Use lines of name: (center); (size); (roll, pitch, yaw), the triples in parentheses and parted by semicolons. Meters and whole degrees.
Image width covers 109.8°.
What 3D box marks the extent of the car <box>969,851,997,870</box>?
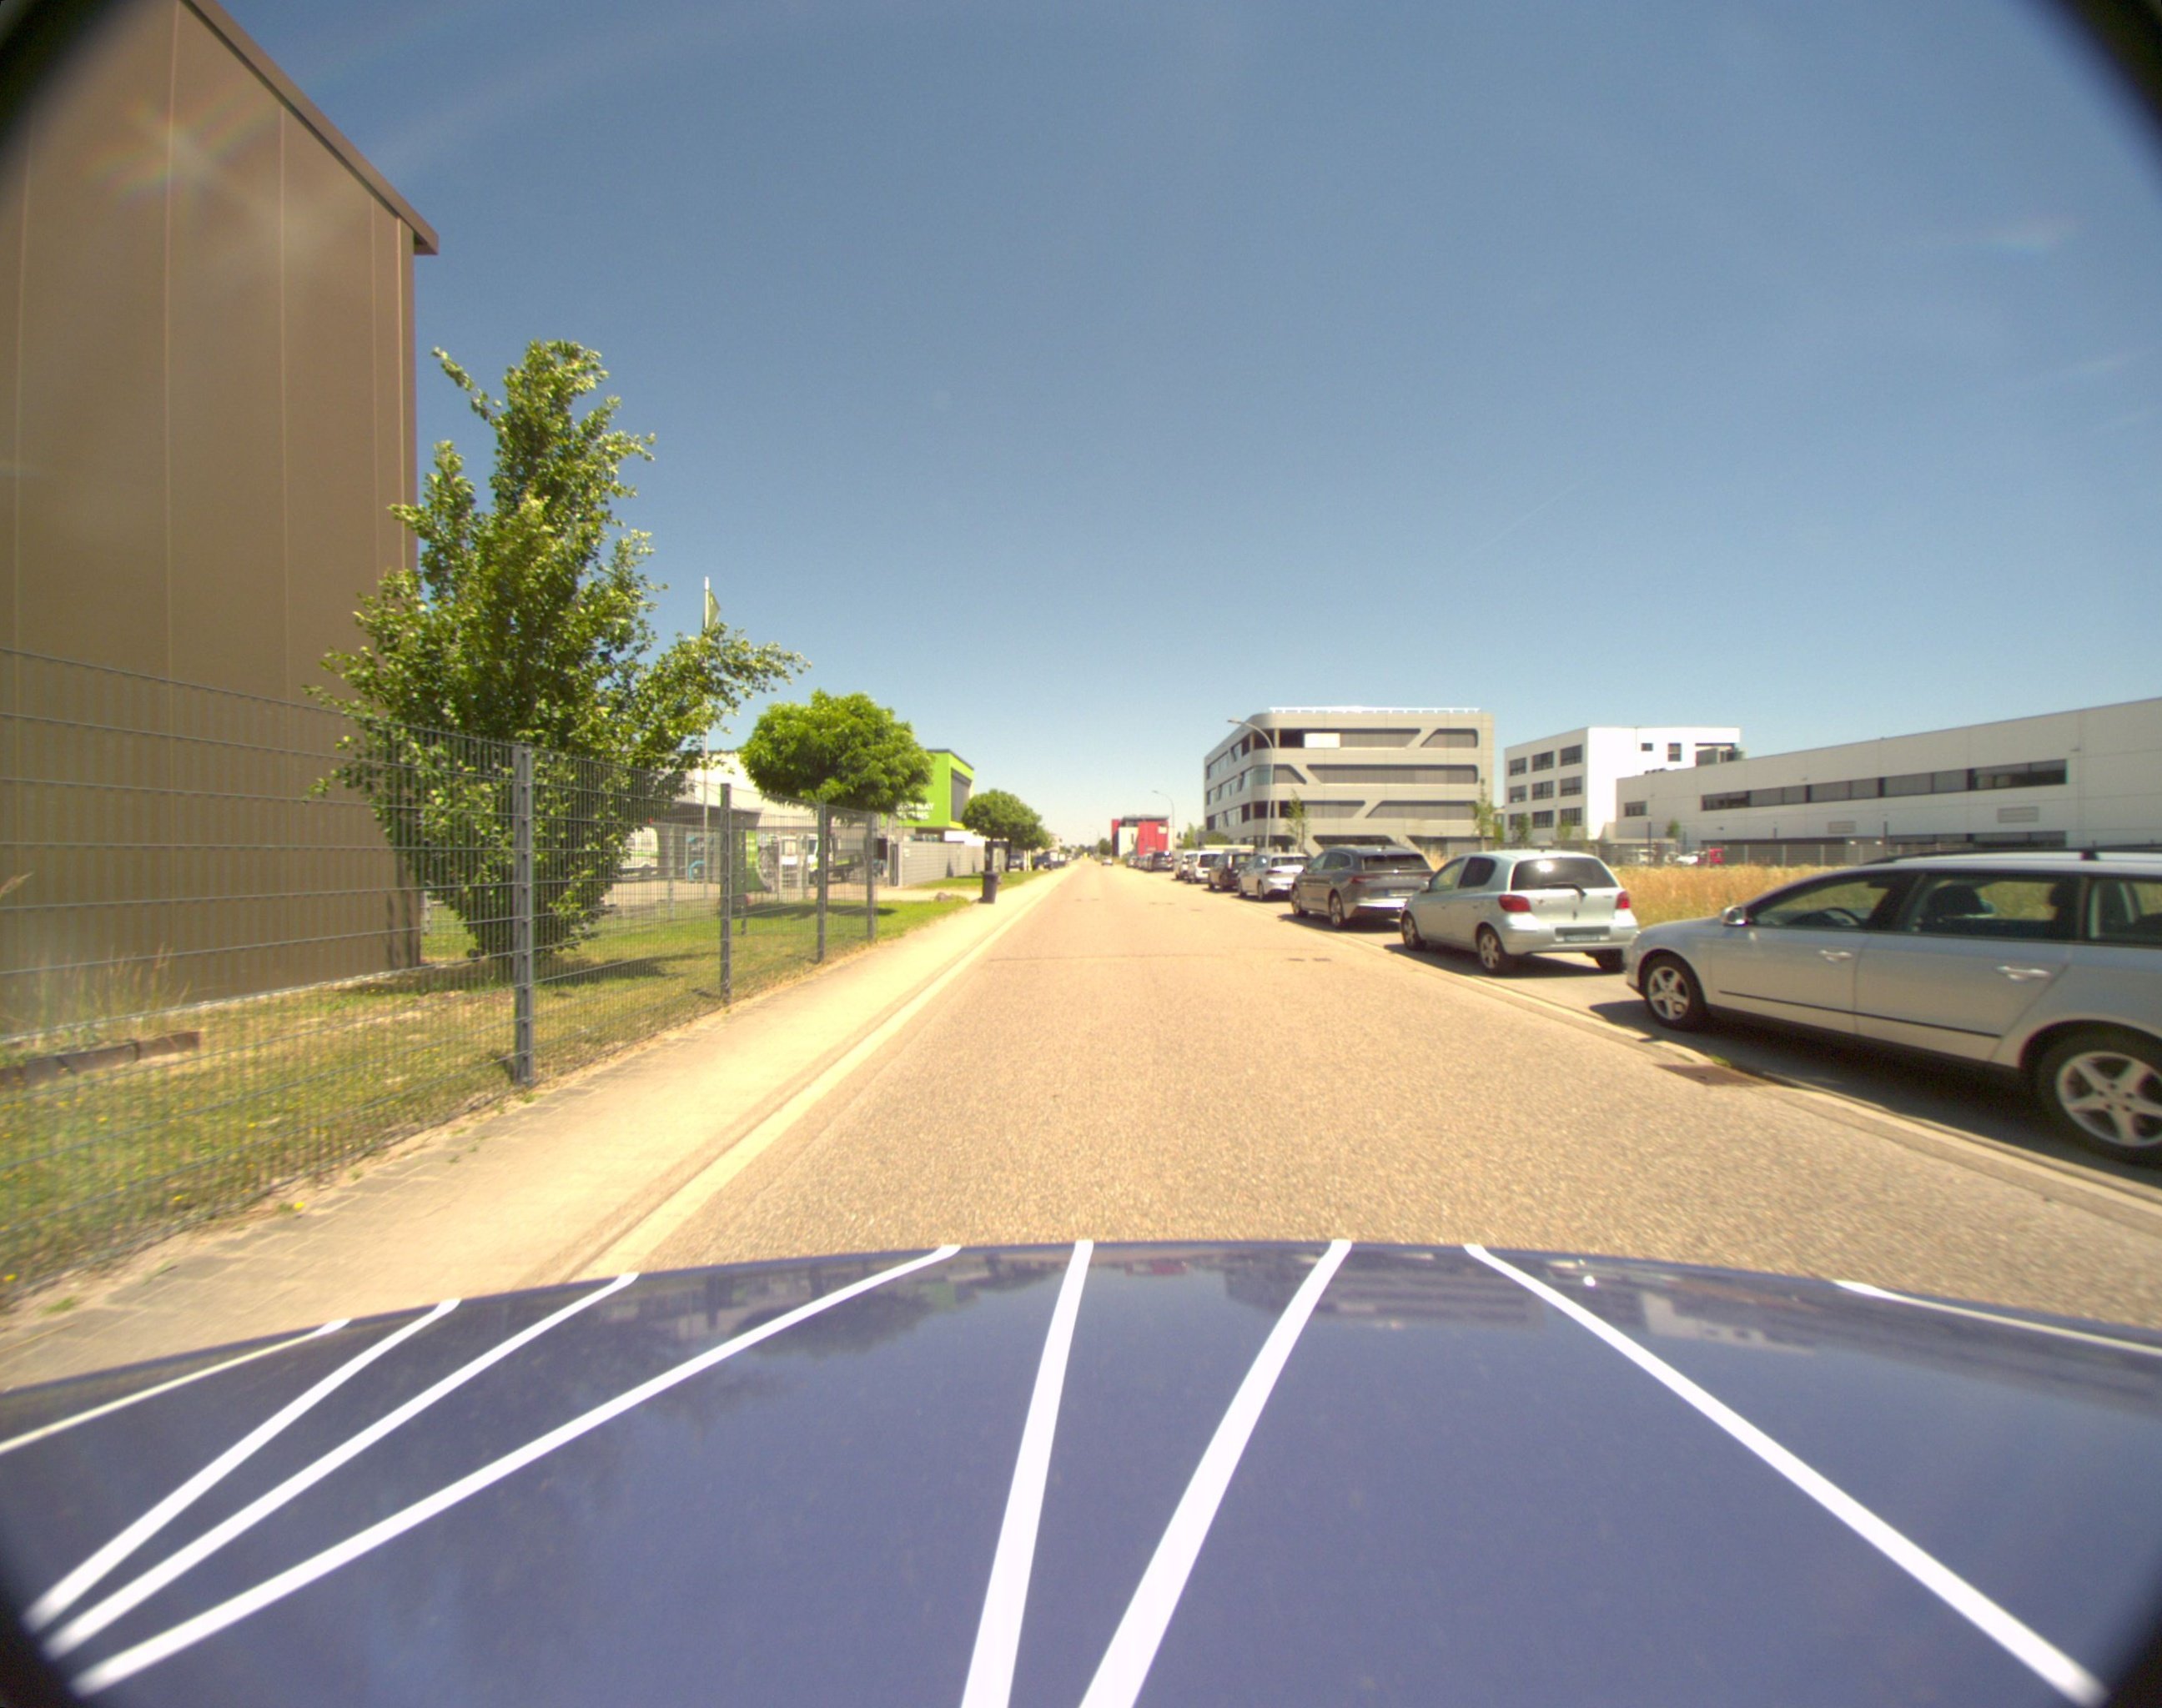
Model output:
car: (-8.178, 0.529, 63.706); (1.742, 1.390, 4.053); (0, 2, 1)

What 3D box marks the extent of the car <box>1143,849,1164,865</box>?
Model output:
car: (6.890, 0.275, 72.425); (1.639, 1.527, 3.657); (-2, 0, 0)

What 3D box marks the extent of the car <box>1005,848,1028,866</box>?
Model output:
car: (-5.976, 0.288, 70.850); (1.727, 1.623, 4.022); (-1, 0, 1)

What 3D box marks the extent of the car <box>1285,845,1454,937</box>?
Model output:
car: (5.724, 0.639, 15.726); (1.795, 1.598, 4.462); (-2, 1, 0)

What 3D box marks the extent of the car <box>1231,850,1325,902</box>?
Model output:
car: (6.132, 0.625, 24.135); (1.768, 1.442, 4.199); (-2, 1, -2)

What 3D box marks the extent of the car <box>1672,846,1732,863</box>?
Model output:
car: (57.282, 0.049, 70.138); (3.997, 1.576, 1.922); (0, 0, 1)

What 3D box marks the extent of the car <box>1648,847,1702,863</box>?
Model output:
car: (58.595, 0.103, 74.942); (3.999, 1.576, 1.921); (0, 0, -6)

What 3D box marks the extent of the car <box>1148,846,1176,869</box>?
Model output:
car: (6.576, 0.269, 62.077); (1.807, 1.709, 4.622); (-2, 0, 1)

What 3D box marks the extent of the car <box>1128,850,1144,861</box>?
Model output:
car: (7.076, 0.184, 98.166); (1.704, 1.378, 3.937); (-1, 0, -2)

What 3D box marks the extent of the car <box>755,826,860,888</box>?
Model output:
car: (-12.271, 0.091, 34.781); (2.135, 2.480, 7.025); (2, 1, 1)

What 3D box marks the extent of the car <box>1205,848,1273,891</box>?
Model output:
car: (6.031, 0.546, 29.481); (1.767, 1.508, 4.379); (-2, 1, 1)

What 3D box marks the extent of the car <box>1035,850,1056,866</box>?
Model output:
car: (-3.267, 0.390, 70.671); (1.696, 1.419, 4.246); (-1, 0, 1)

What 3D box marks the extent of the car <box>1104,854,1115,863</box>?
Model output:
car: (4.593, 0.694, 124.232); (1.708, 1.403, 4.784); (2, 0, 2)

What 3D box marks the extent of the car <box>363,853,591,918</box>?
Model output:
car: (-14.885, 0.709, 19.164); (1.998, 1.430, 4.612); (0, 0, 1)

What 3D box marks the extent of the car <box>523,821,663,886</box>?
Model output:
car: (-20.714, -0.040, 32.673); (2.135, 2.480, 5.860); (2, 1, 1)

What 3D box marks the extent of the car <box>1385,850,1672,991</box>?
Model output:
car: (5.733, 0.735, 10.335); (1.698, 1.516, 3.734); (-2, 1, 0)

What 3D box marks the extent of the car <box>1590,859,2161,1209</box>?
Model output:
car: (5.761, 0.831, 4.858); (1.779, 1.472, 4.815); (-2, 1, 0)

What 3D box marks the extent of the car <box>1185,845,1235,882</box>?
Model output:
car: (6.233, 0.428, 37.113); (1.791, 1.647, 3.768); (-1, 1, 0)

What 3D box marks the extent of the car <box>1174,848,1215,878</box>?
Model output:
car: (6.212, 0.439, 42.063); (1.791, 1.533, 4.365); (-1, 0, 3)

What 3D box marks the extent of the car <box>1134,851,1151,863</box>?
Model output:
car: (7.204, 0.357, 89.405); (1.688, 1.378, 4.640); (-1, 0, 2)

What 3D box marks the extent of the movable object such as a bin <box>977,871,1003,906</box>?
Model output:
movable object such as a bin: (-2.573, 0.970, 21.583); (0.553, 0.923, 0.522); (3, 2, 11)
